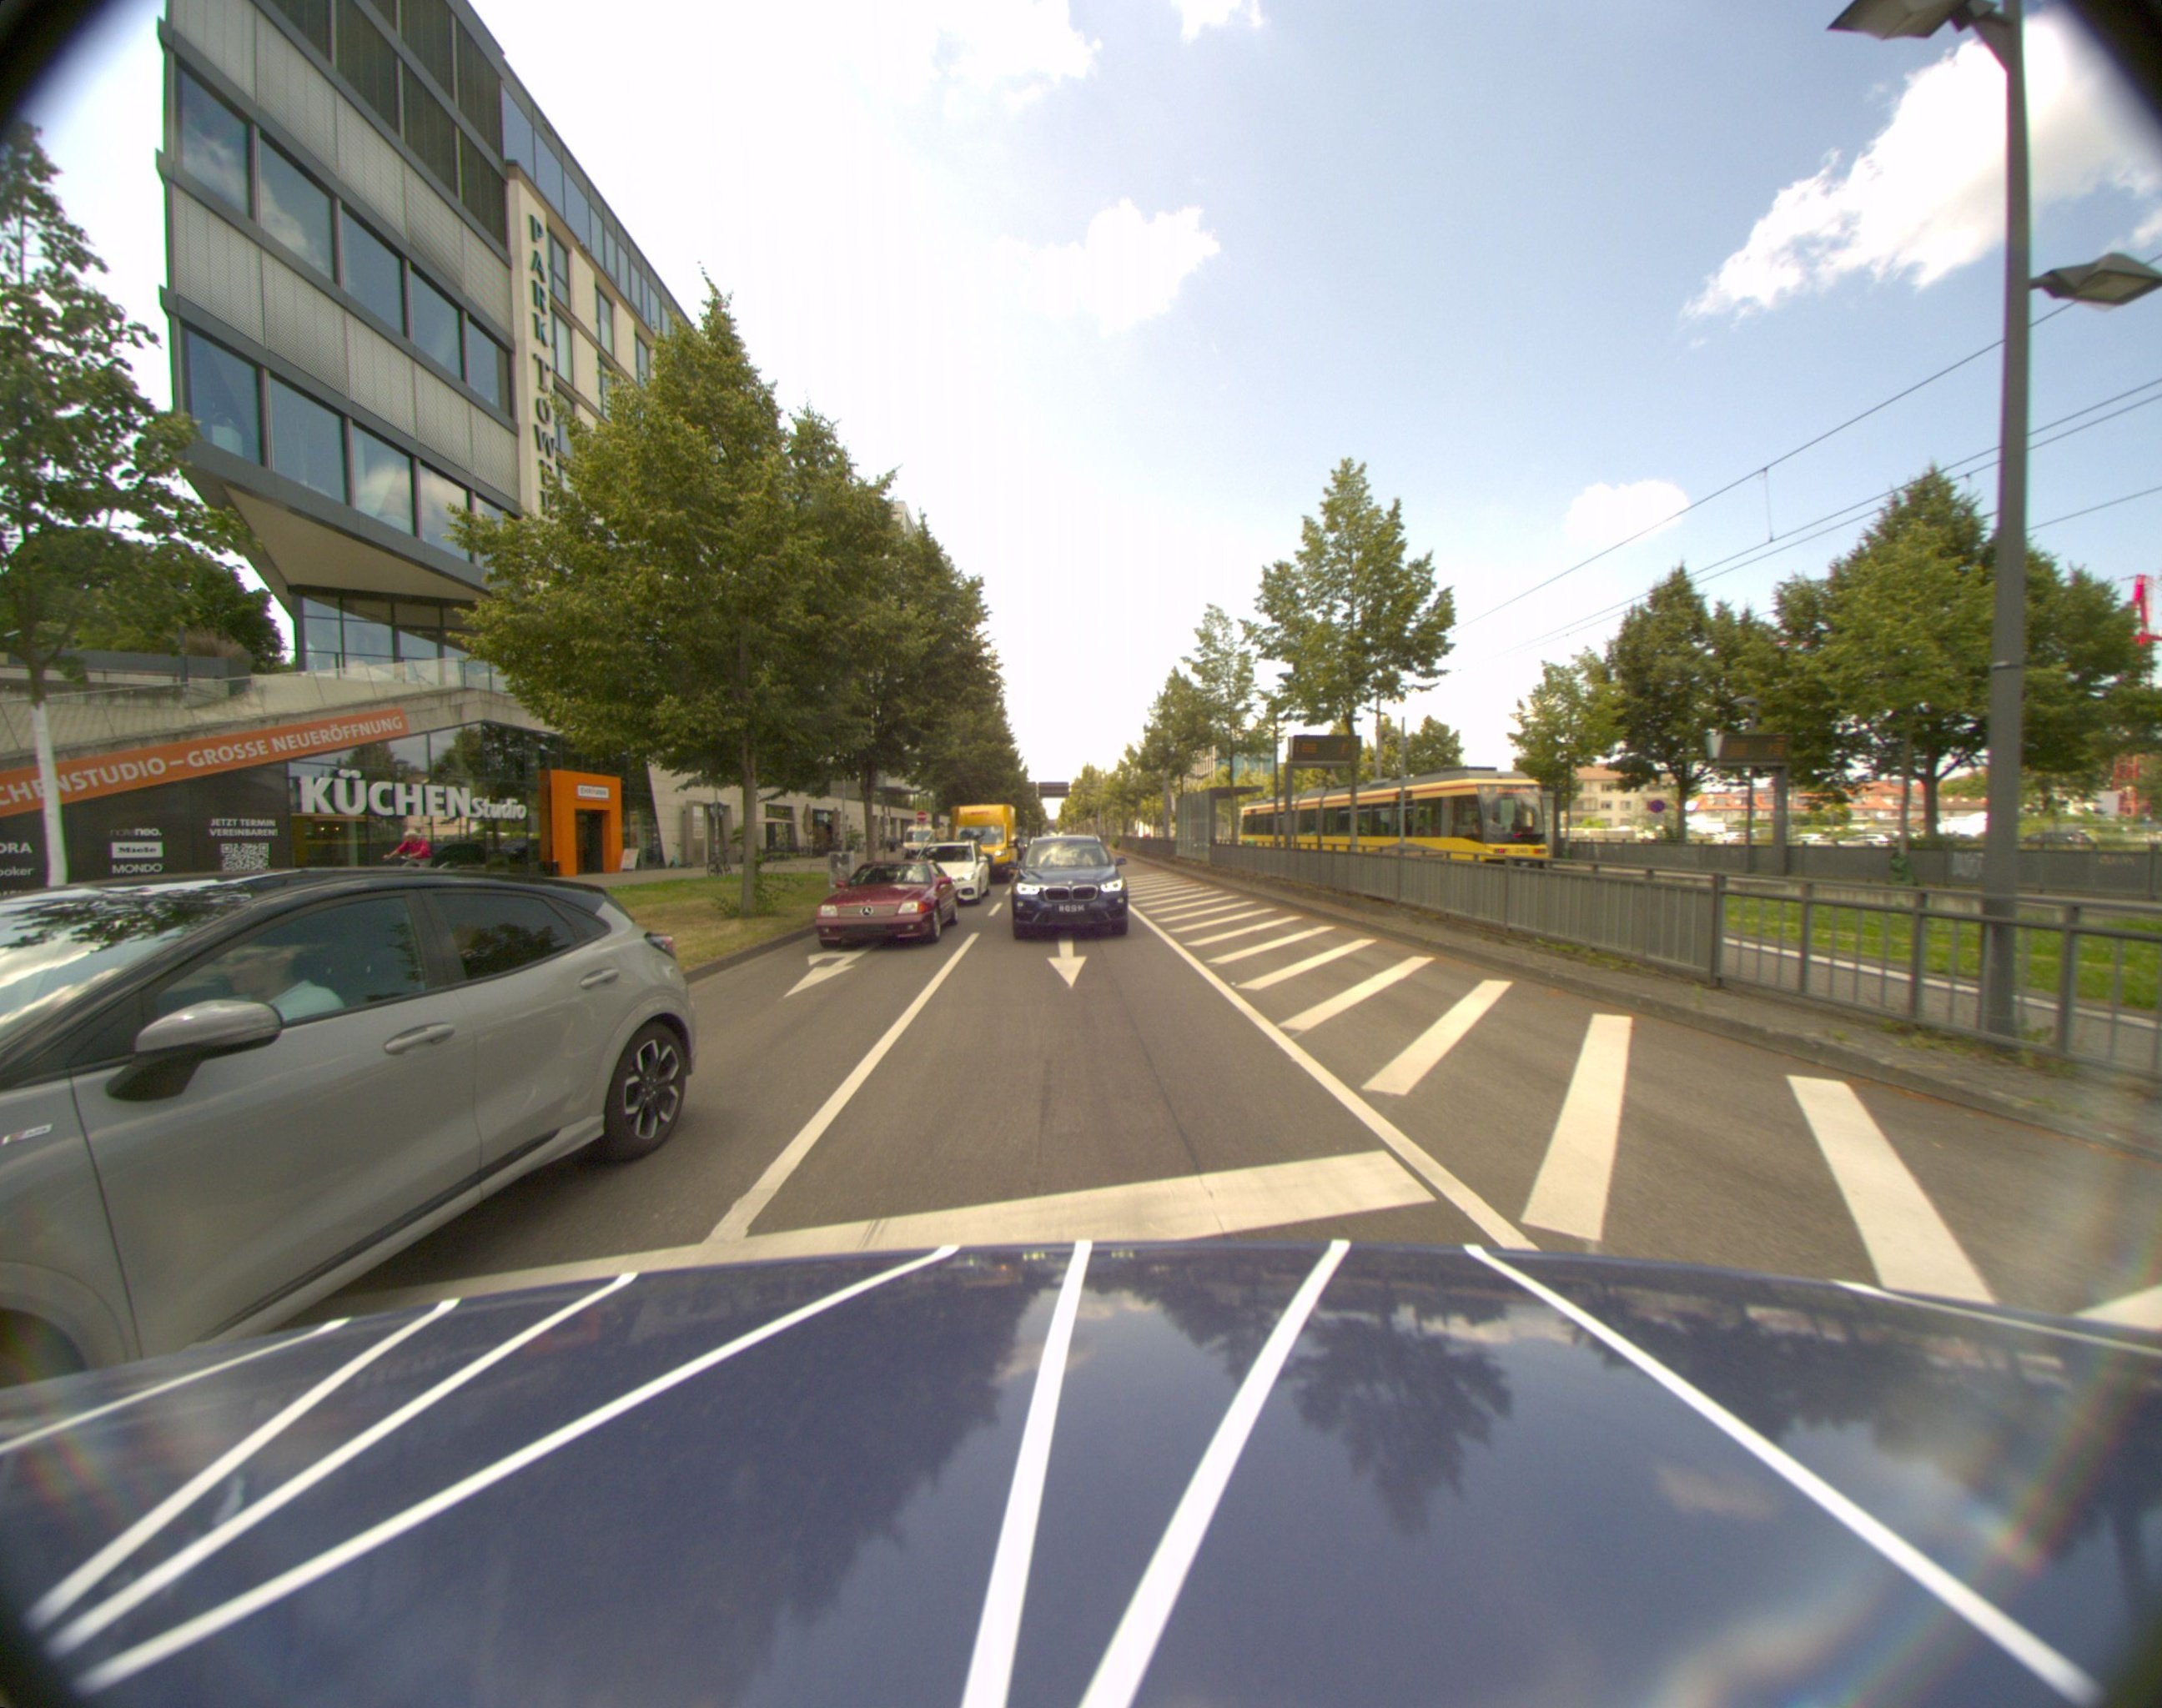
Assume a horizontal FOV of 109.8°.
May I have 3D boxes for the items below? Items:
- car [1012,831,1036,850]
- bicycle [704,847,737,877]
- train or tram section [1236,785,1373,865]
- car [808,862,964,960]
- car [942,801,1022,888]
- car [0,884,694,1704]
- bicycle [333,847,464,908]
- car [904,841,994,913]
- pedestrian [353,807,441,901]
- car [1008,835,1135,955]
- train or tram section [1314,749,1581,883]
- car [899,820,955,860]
[{"bbox_3d":[-5.334,-1.262,71.088,1.823,1.642,3.999,-2,2,1],"label":"car"},{"bbox_3d":[-13.388,0.281,28.240,0.516,1.082,1.747,0,2,-5],"label":"bicycle"},{"bbox_3d":[11.654,-1.516,41.838,2.694,3.618,14.657,-1,1,-2],"label":"train or tram section"},{"bbox_3d":[-3.090,0.832,12.859,1.674,1.254,4.090,-1,1,-2],"label":"car"},{"bbox_3d":[-3.620,-0.447,29.283,2.284,2.837,7.251,-2,2,-2],"label":"car"},{"bbox_3d":[-3.052,0.979,2.289,1.674,1.463,4.090,-1,2,-1],"label":"car"},{"bbox_3d":[-15.121,0.472,16.942,0.812,1.237,2.410,-1,1,-4],"label":"bicycle"},{"bbox_3d":[-3.336,0.499,19.934,1.674,1.590,4.126,-2,2,-2],"label":"car"},{"bbox_3d":[-15.122,-0.014,16.836,0.754,2.002,1.231,-1,2,1],"label":"pedestrian"},{"bbox_3d":[-0.196,0.545,13.114,1.774,1.590,4.125,-3,3,-2],"label":"car"},{"bbox_3d":[12.319,-1.234,27.980,2.850,3.719,13.470,-1,1,-2],"label":"train or tram section"},{"bbox_3d":[-9.987,-0.984,49.945,2.161,2.381,6.276,-2,2,1],"label":"car"}]
